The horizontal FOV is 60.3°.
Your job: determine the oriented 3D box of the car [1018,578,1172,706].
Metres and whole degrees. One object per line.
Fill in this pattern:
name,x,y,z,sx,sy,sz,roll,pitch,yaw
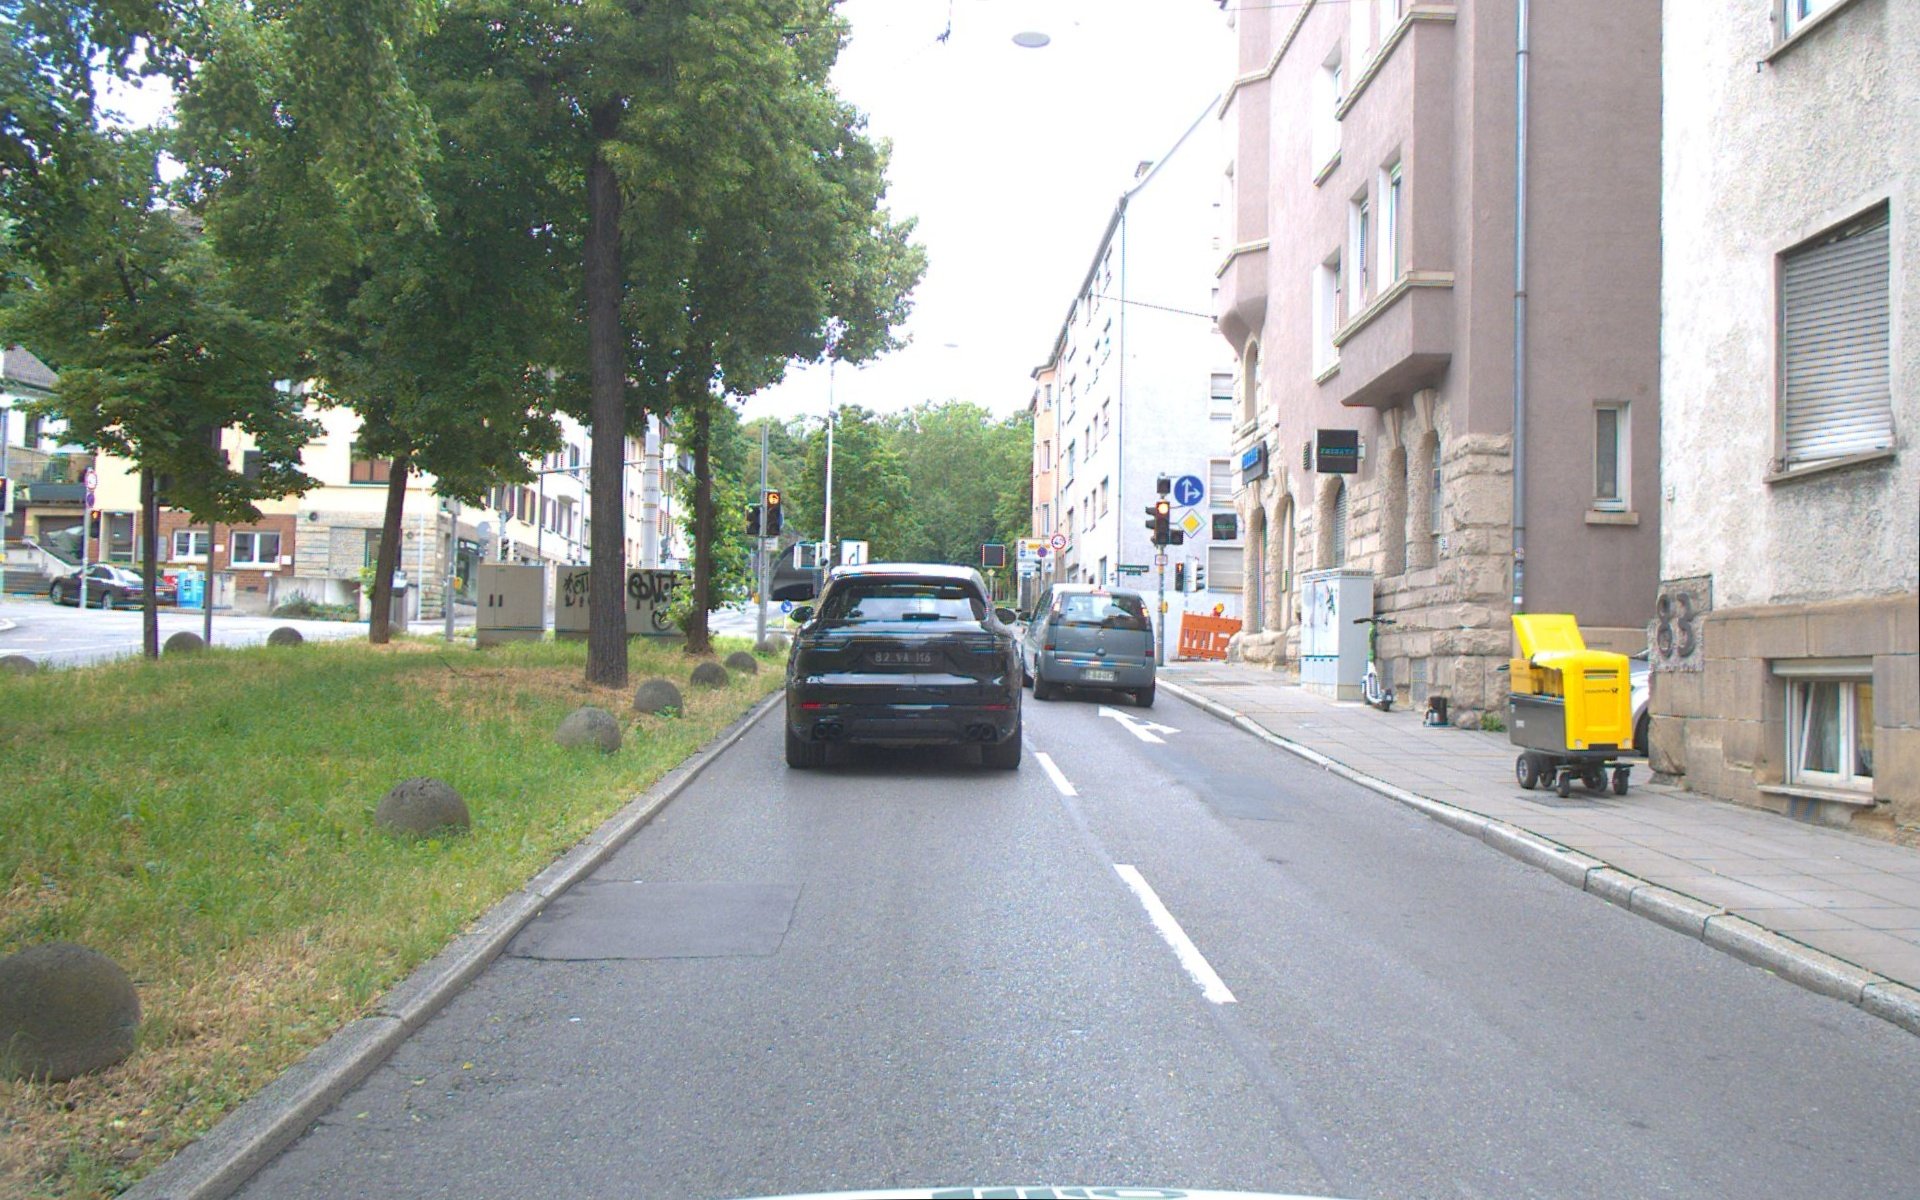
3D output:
car,1.870,0.536,23.888,1.717,1.621,3.629,3,1,-2

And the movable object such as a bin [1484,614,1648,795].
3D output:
movable object such as a bin,5.135,0.845,14.126,0.705,1.446,1.692,0,-1,-3

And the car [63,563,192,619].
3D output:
car,-26.571,-0.276,52.774,3.915,1.694,1.877,0,-1,32

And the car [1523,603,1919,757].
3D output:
car,8.418,0.840,18.035,3.906,1.427,1.800,1,3,-2

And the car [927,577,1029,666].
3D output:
car,0.315,0.413,33.809,1.954,1.682,3.999,0,0,-1

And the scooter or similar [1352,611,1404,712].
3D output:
scooter or similar,5.434,0.779,21.552,0.392,1.208,1.355,0,2,2

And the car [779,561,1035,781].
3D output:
car,-0.432,0.507,14.684,1.954,1.681,4.000,0,1,-1
